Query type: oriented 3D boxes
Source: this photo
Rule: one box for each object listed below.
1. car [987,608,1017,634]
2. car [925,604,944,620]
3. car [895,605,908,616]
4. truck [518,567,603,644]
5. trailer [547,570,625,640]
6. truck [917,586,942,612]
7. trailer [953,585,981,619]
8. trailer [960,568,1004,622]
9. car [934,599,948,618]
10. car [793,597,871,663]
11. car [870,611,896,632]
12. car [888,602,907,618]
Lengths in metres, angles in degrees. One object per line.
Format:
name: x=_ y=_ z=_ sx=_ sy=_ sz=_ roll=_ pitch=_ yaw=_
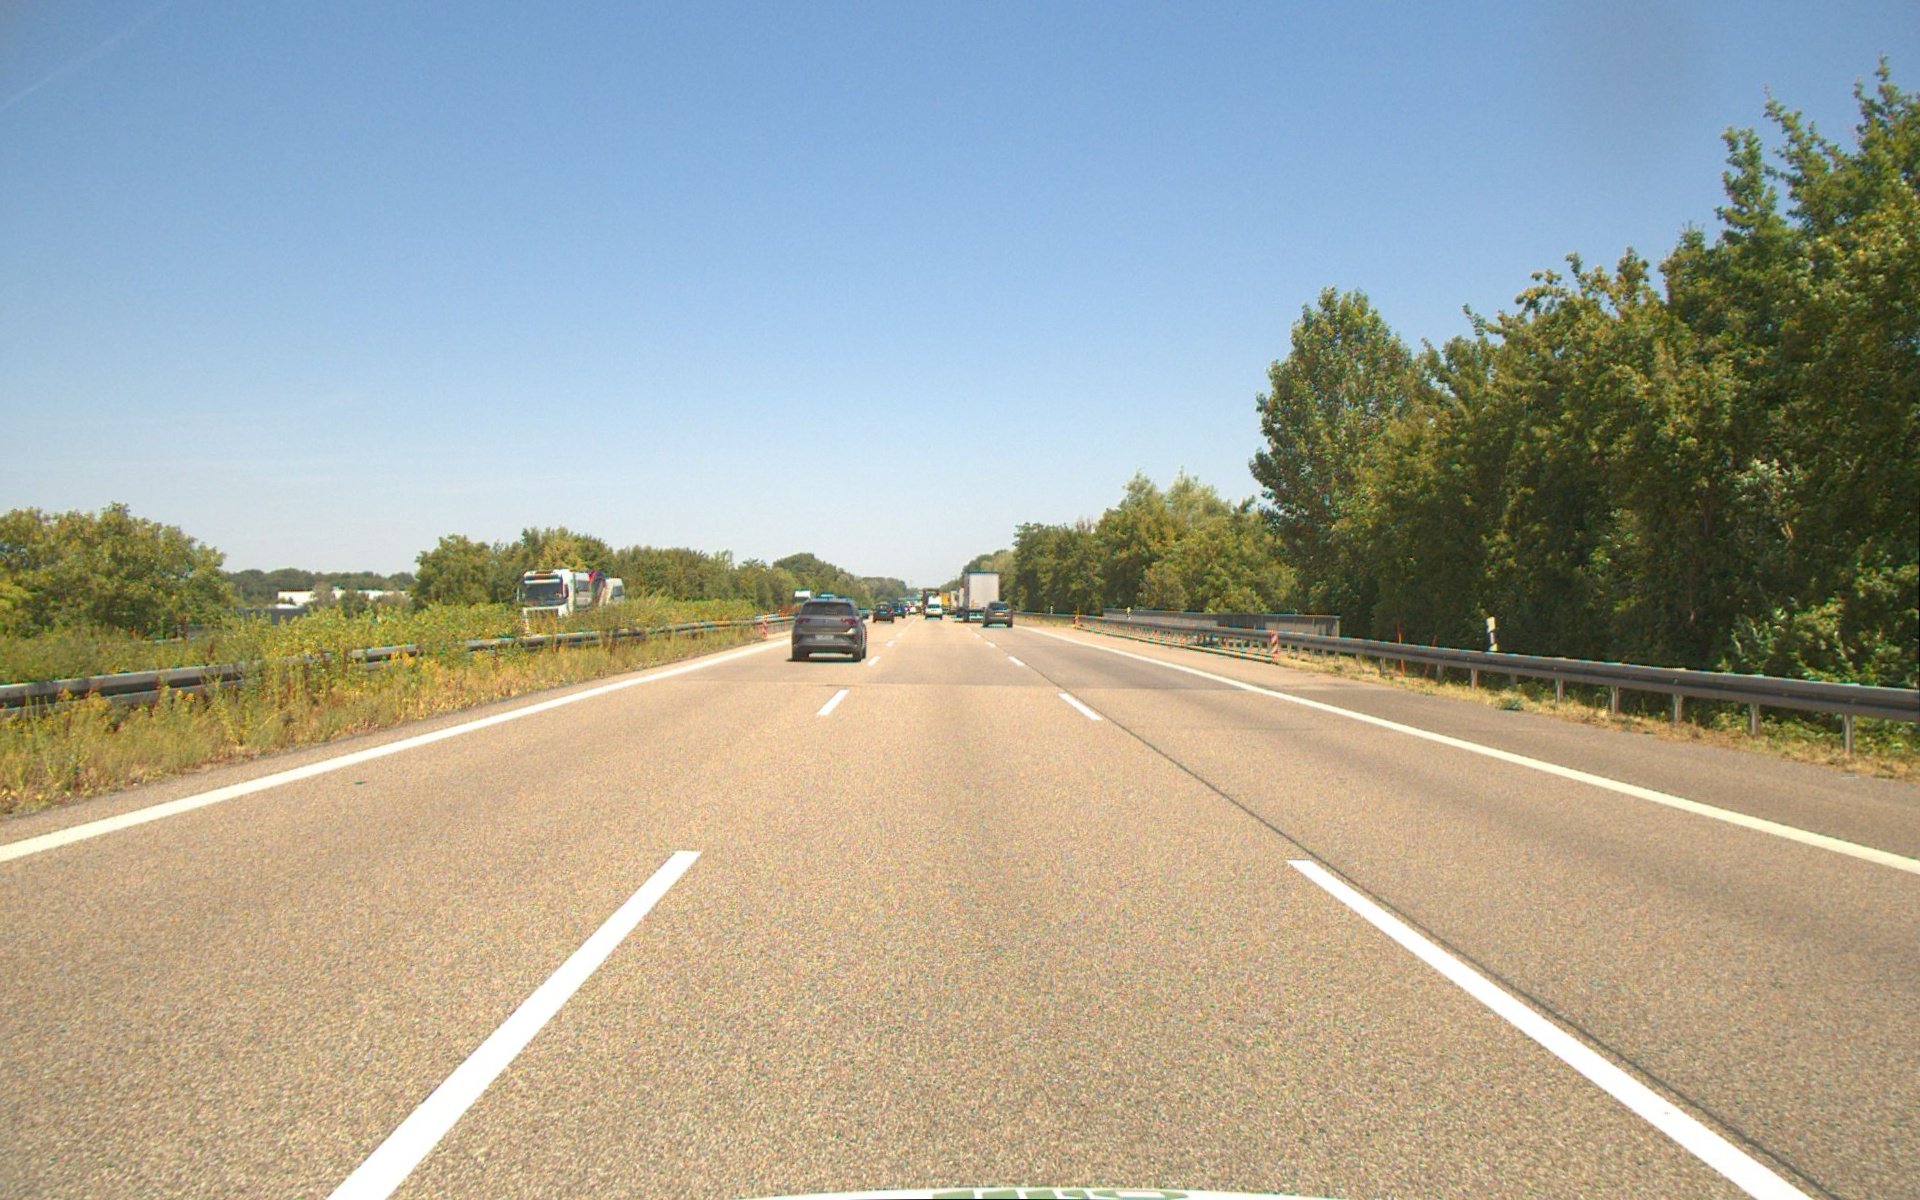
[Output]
car: x=2.678 y=1.332 z=106.246 sx=1.807 sy=1.657 sz=4.134 roll=0 pitch=0 yaw=-1
car: x=-2.531 y=1.214 z=165.629 sx=1.862 sy=1.557 sz=4.083 roll=1 pitch=0 yaw=-1
car: x=-8.574 y=1.497 z=242.621 sx=1.869 sy=1.557 sz=4.284 roll=1 pitch=0 yaw=-1
truck: x=-22.404 y=0.301 z=93.228 sx=2.859 sy=4.060 sz=9.618 roll=1 pitch=0 yaw=-3
trailer: x=-22.779 y=0.282 z=101.284 sx=2.867 sy=4.060 sz=9.654 roll=1 pitch=0 yaw=-2
truck: x=-4.581 y=-0.152 z=251.203 sx=3.592 sy=3.791 sz=7.108 roll=1 pitch=0 yaw=0
trailer: x=0.794 y=0.210 z=201.823 sx=3.059 sy=3.995 sz=9.932 roll=1 pitch=0 yaw=-2
trailer: x=1.783 y=-0.317 z=140.153 sx=3.365 sy=4.254 sz=13.629 roll=1 pitch=-1 yaw=-1
car: x=-2.561 y=1.134 z=226.900 sx=1.869 sy=2.468 sz=4.284 roll=1 pitch=0 yaw=-1
car: x=-3.238 y=0.725 z=42.597 sx=1.723 sy=1.557 sz=4.284 roll=1 pitch=0 yaw=-1
car: x=-5.920 y=1.650 z=127.514 sx=1.862 sy=1.557 sz=4.083 roll=1 pitch=0 yaw=-1
car: x=-6.633 y=1.043 z=174.693 sx=1.869 sy=1.557 sz=4.284 roll=1 pitch=0 yaw=-1
